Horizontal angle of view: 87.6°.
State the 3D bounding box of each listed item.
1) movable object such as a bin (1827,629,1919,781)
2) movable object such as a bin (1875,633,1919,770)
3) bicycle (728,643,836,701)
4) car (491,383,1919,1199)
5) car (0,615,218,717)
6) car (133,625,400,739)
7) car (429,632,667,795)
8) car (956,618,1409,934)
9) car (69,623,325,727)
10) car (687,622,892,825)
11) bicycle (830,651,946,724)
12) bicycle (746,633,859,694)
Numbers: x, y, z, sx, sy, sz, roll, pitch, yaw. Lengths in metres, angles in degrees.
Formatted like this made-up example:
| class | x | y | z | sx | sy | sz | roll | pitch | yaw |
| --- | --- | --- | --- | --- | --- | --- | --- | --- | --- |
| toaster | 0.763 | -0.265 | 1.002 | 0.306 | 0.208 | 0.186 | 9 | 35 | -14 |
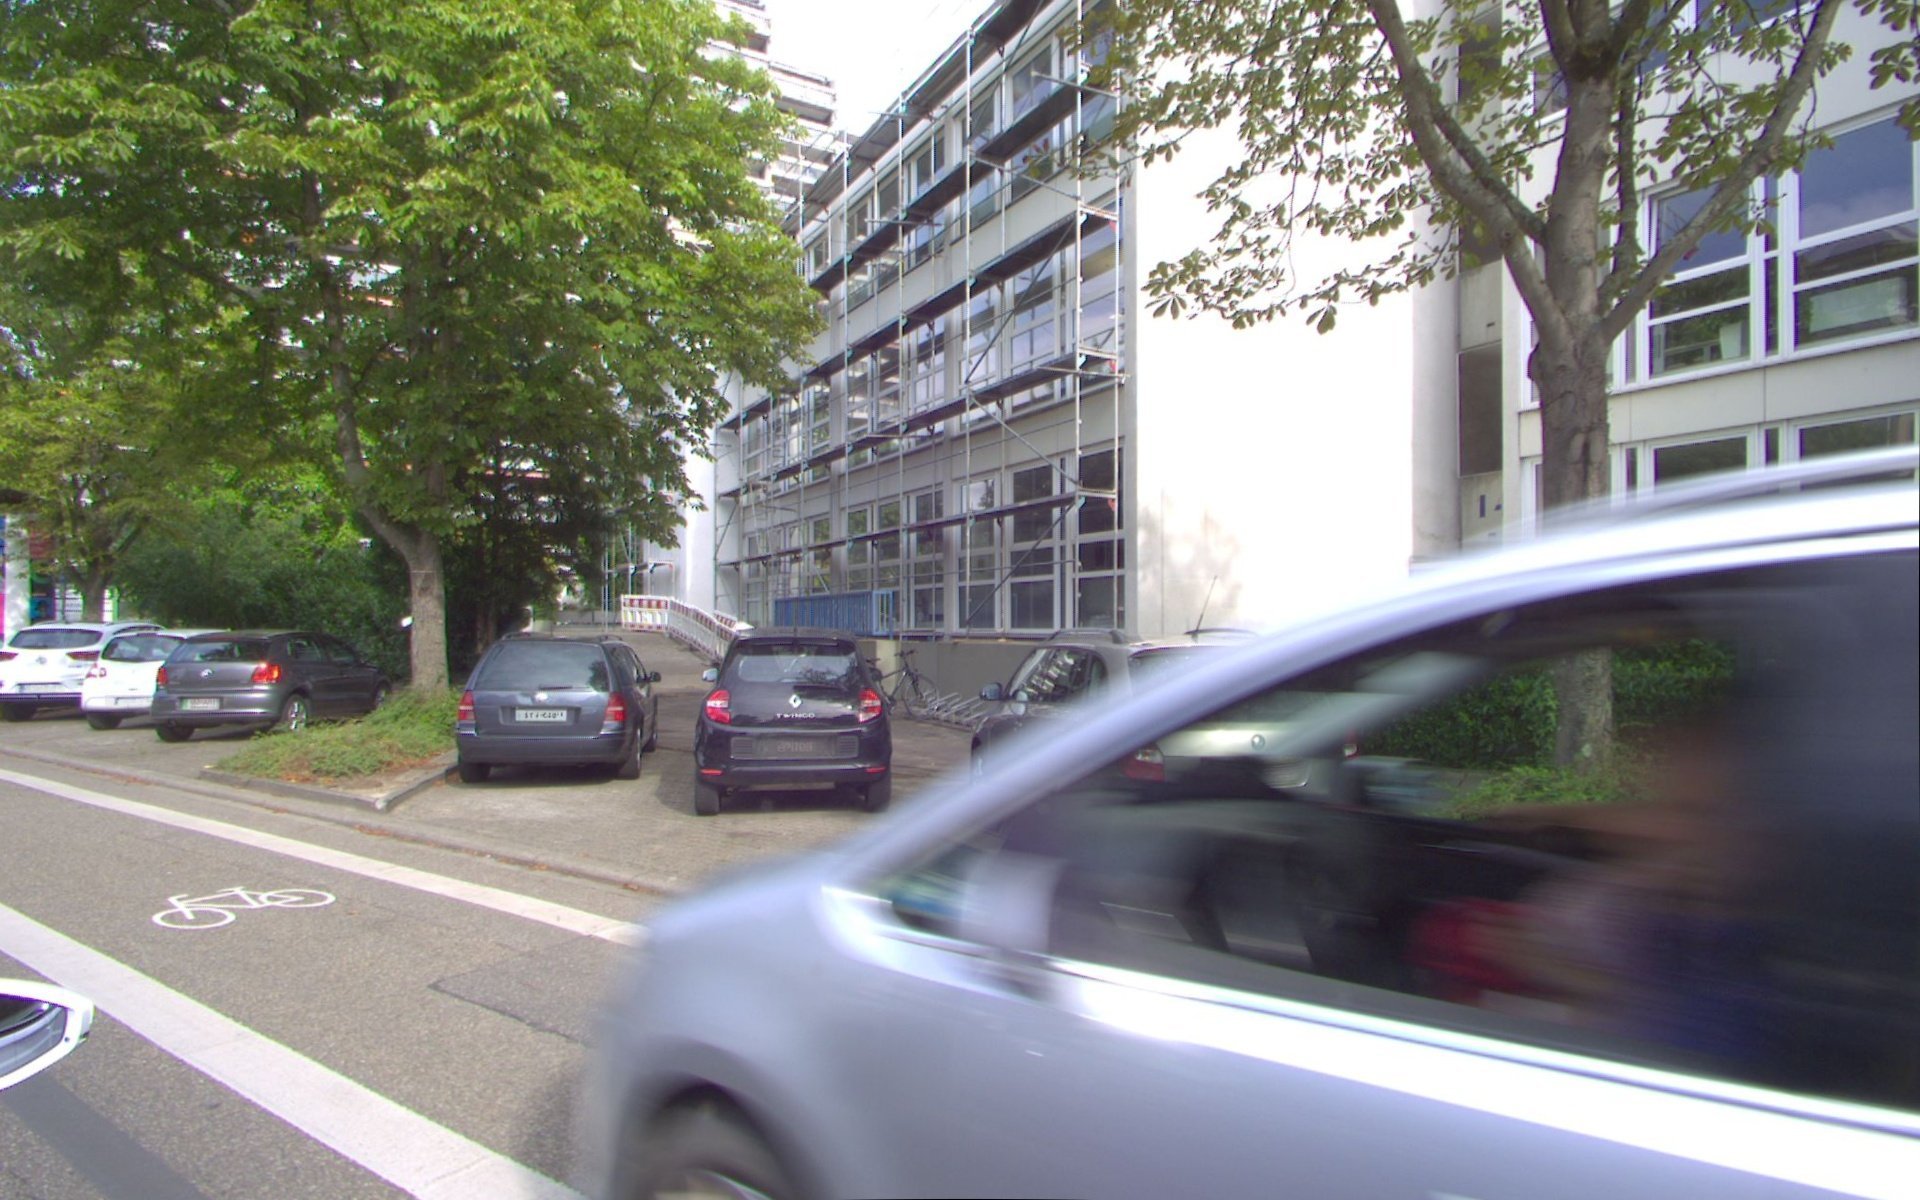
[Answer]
| class | x | y | z | sx | sy | sz | roll | pitch | yaw |
| --- | --- | --- | --- | --- | --- | --- | --- | --- | --- |
| movable object such as a bin | 9.285 | 1.000 | 9.875 | 1.012 | 1.425 | 0.906 | 1 | -1 | -36 |
| movable object such as a bin | 10.450 | 1.052 | 10.481 | 1.050 | 1.409 | 1.111 | 1 | -1 | -36 |
| bicycle | -3.371 | 1.346 | 18.991 | 1.944 | 1.057 | 0.593 | 1 | -1 | -20 |
| car | 1.308 | 0.717 | 1.466 | 4.561 | 1.723 | 1.805 | -1 | -2 | 39 |
| car | -15.038 | 1.104 | 17.747 | 1.651 | 1.623 | 3.644 | 0 | -2 | -12 |
| car | -9.860 | 1.104 | 14.604 | 1.650 | 1.438 | 3.647 | 0 | -2 | -6 |
| car | -4.304 | 1.077 | 11.101 | 1.783 | 1.433 | 4.167 | 0 | -2 | -13 |
| car | 1.172 | 0.944 | 7.098 | 1.566 | 1.557 | 4.050 | 1 | -2 | -13 |
| car | -12.189 | 1.135 | 16.319 | 1.650 | 1.493 | 3.647 | 0 | -2 | -6 |
| car | -1.609 | 1.001 | 9.489 | 1.566 | 1.557 | 3.416 | 0 | -1 | -10 |
| bicycle | -1.130 | 1.371 | 15.889 | 1.813 | 1.057 | 0.451 | 0 | 0 | -28 |
| bicycle | -2.854 | 1.137 | 18.256 | 1.949 | 1.057 | 0.592 | 1 | -1 | -30 |
